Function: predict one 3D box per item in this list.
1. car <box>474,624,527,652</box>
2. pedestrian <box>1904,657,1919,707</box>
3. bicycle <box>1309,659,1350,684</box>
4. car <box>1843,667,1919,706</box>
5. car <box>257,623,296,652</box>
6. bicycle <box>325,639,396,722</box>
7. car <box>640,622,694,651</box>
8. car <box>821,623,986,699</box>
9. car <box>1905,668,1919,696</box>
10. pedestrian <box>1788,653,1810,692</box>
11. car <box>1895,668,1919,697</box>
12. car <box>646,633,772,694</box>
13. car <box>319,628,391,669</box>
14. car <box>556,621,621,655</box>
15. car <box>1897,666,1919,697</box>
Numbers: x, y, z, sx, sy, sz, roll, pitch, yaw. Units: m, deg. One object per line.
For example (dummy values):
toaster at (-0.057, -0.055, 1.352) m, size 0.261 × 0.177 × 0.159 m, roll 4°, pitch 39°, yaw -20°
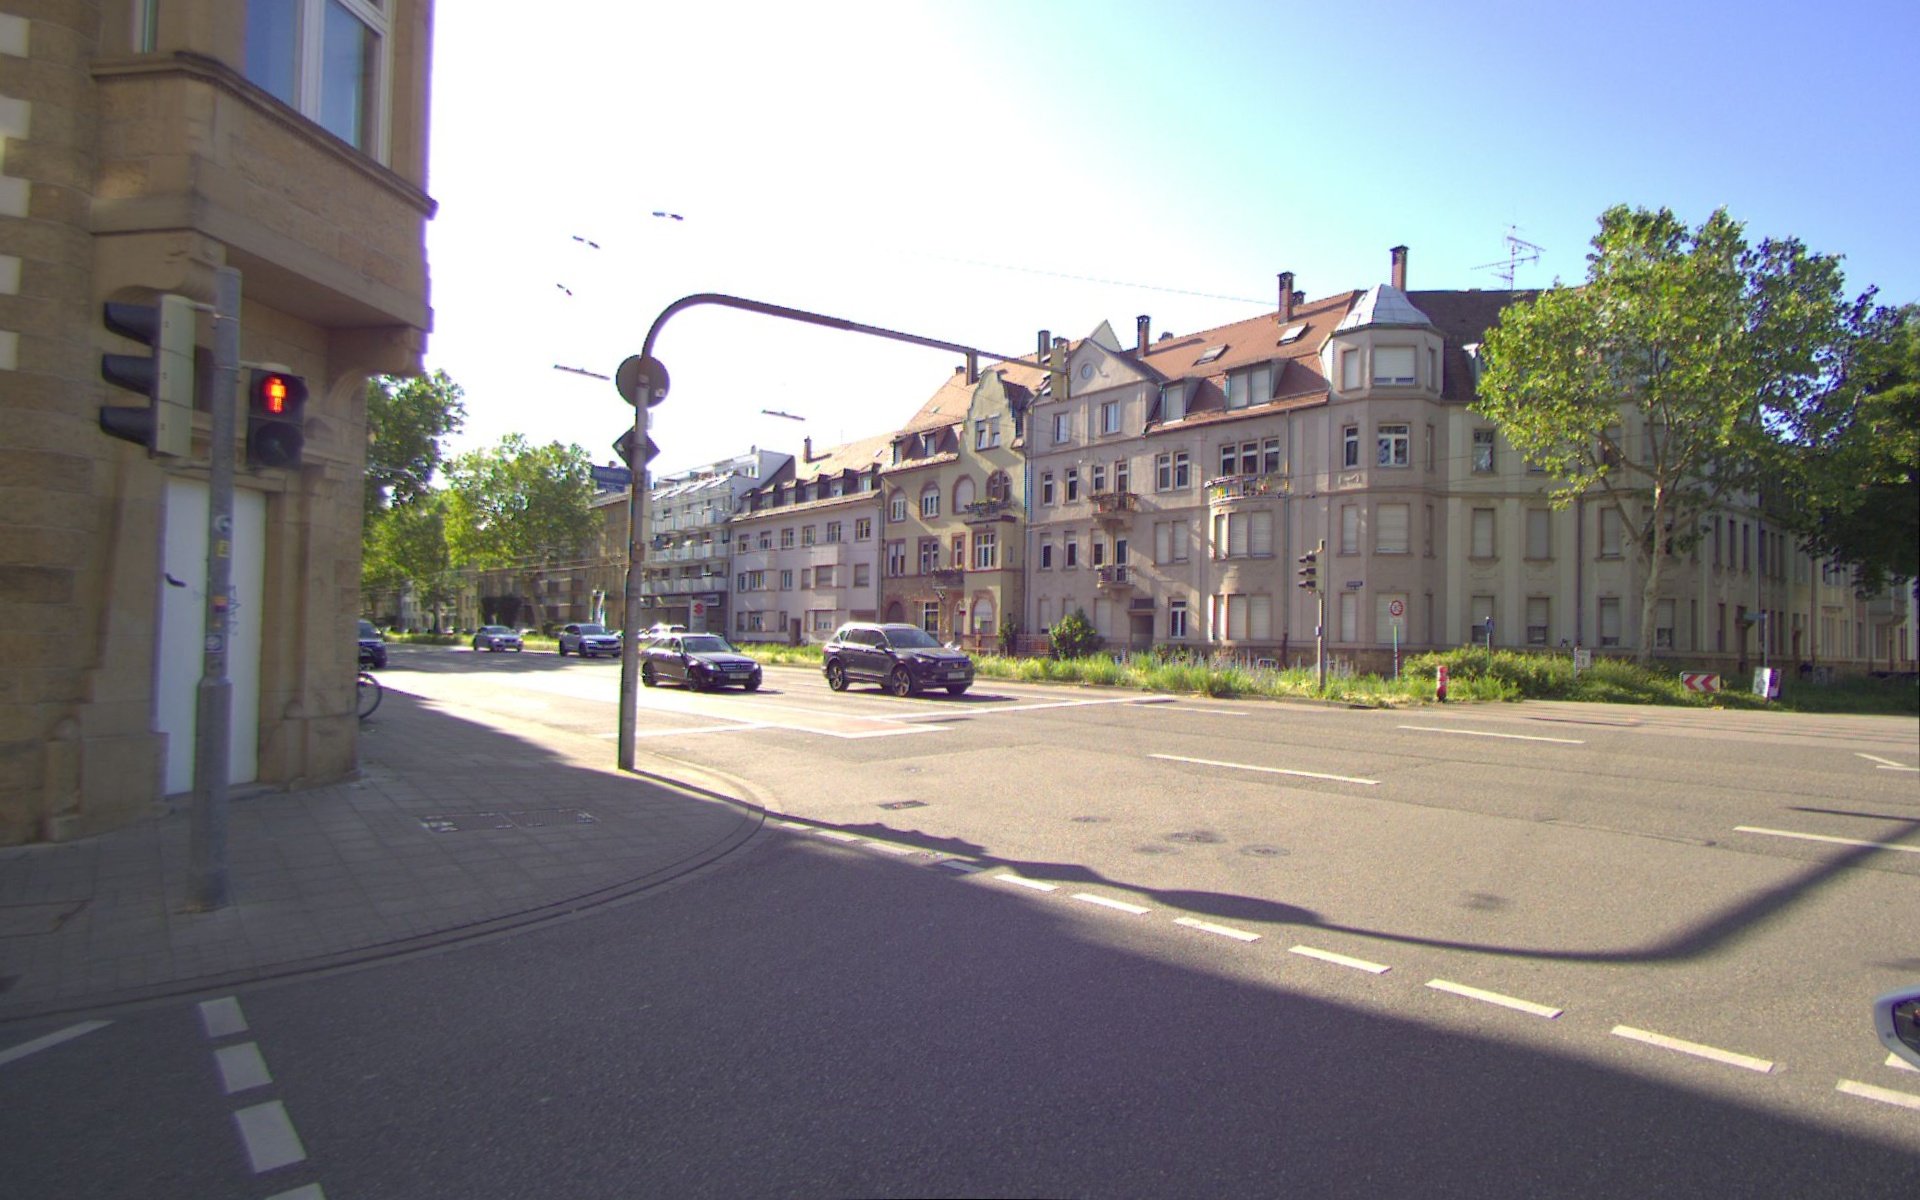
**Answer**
car at (-26.454, 2.183, 57.758) m, size 1.752 × 1.550 × 3.851 m, roll 2°, pitch -2°, yaw -41°
pedestrian at (33.125, 2.837, 34.594) m, size 0.671 × 1.704 × 0.691 m, roll 2°, pitch -2°, yaw -27°
bicycle at (14.298, 2.765, 38.917) m, size 0.493 × 0.916 × 1.421 m, roll 3°, pitch -3°, yaw -42°
car at (38.159, 3.476, 40.320) m, size 1.601 × 1.495 × 3.853 m, roll 4°, pitch -4°, yaw -38°
car at (-39.120, 2.099, 57.431) m, size 1.628 × 1.609 × 3.366 m, roll 1°, pitch -2°, yaw -38°
bicycle at (-9.036, 1.183, 15.108) m, size 0.605 × 1.148 × 1.789 m, roll 2°, pitch -2°, yaw -40°
car at (-19.891, 2.491, 68.111) m, size 1.970 × 1.860 × 4.067 m, roll 3°, pitch -3°, yaw -40°
car at (-1.451, 1.409, 24.476) m, size 1.983 × 1.666 × 4.194 m, roll 1°, pitch -2°, yaw -39°
car at (53.841, 4.492, 54.188) m, size 1.706 × 1.527 × 3.959 m, roll 3°, pitch -4°, yaw -36°
pedestrian at (37.067, 3.196, 44.379) m, size 0.884 × 1.680 × 0.457 m, roll 3°, pitch -2°, yaw -31°
car at (47.057, 3.994, 47.319) m, size 1.688 × 1.366 × 4.179 m, roll 4°, pitch -3°, yaw -38°
car at (-6.589, 1.601, 26.154) m, size 1.751 × 1.407 × 3.853 m, roll 2°, pitch -2°, yaw -39°
car at (-22.155, 1.742, 36.714) m, size 1.751 × 1.407 × 3.853 m, roll 3°, pitch -3°, yaw -39°
car at (-17.964, 1.809, 48.499) m, size 1.751 × 1.550 × 3.975 m, roll 3°, pitch -3°, yaw -38°
car at (48.271, 4.063, 49.043) m, size 1.687 × 1.471 × 3.410 m, roll 4°, pitch -3°, yaw -36°
